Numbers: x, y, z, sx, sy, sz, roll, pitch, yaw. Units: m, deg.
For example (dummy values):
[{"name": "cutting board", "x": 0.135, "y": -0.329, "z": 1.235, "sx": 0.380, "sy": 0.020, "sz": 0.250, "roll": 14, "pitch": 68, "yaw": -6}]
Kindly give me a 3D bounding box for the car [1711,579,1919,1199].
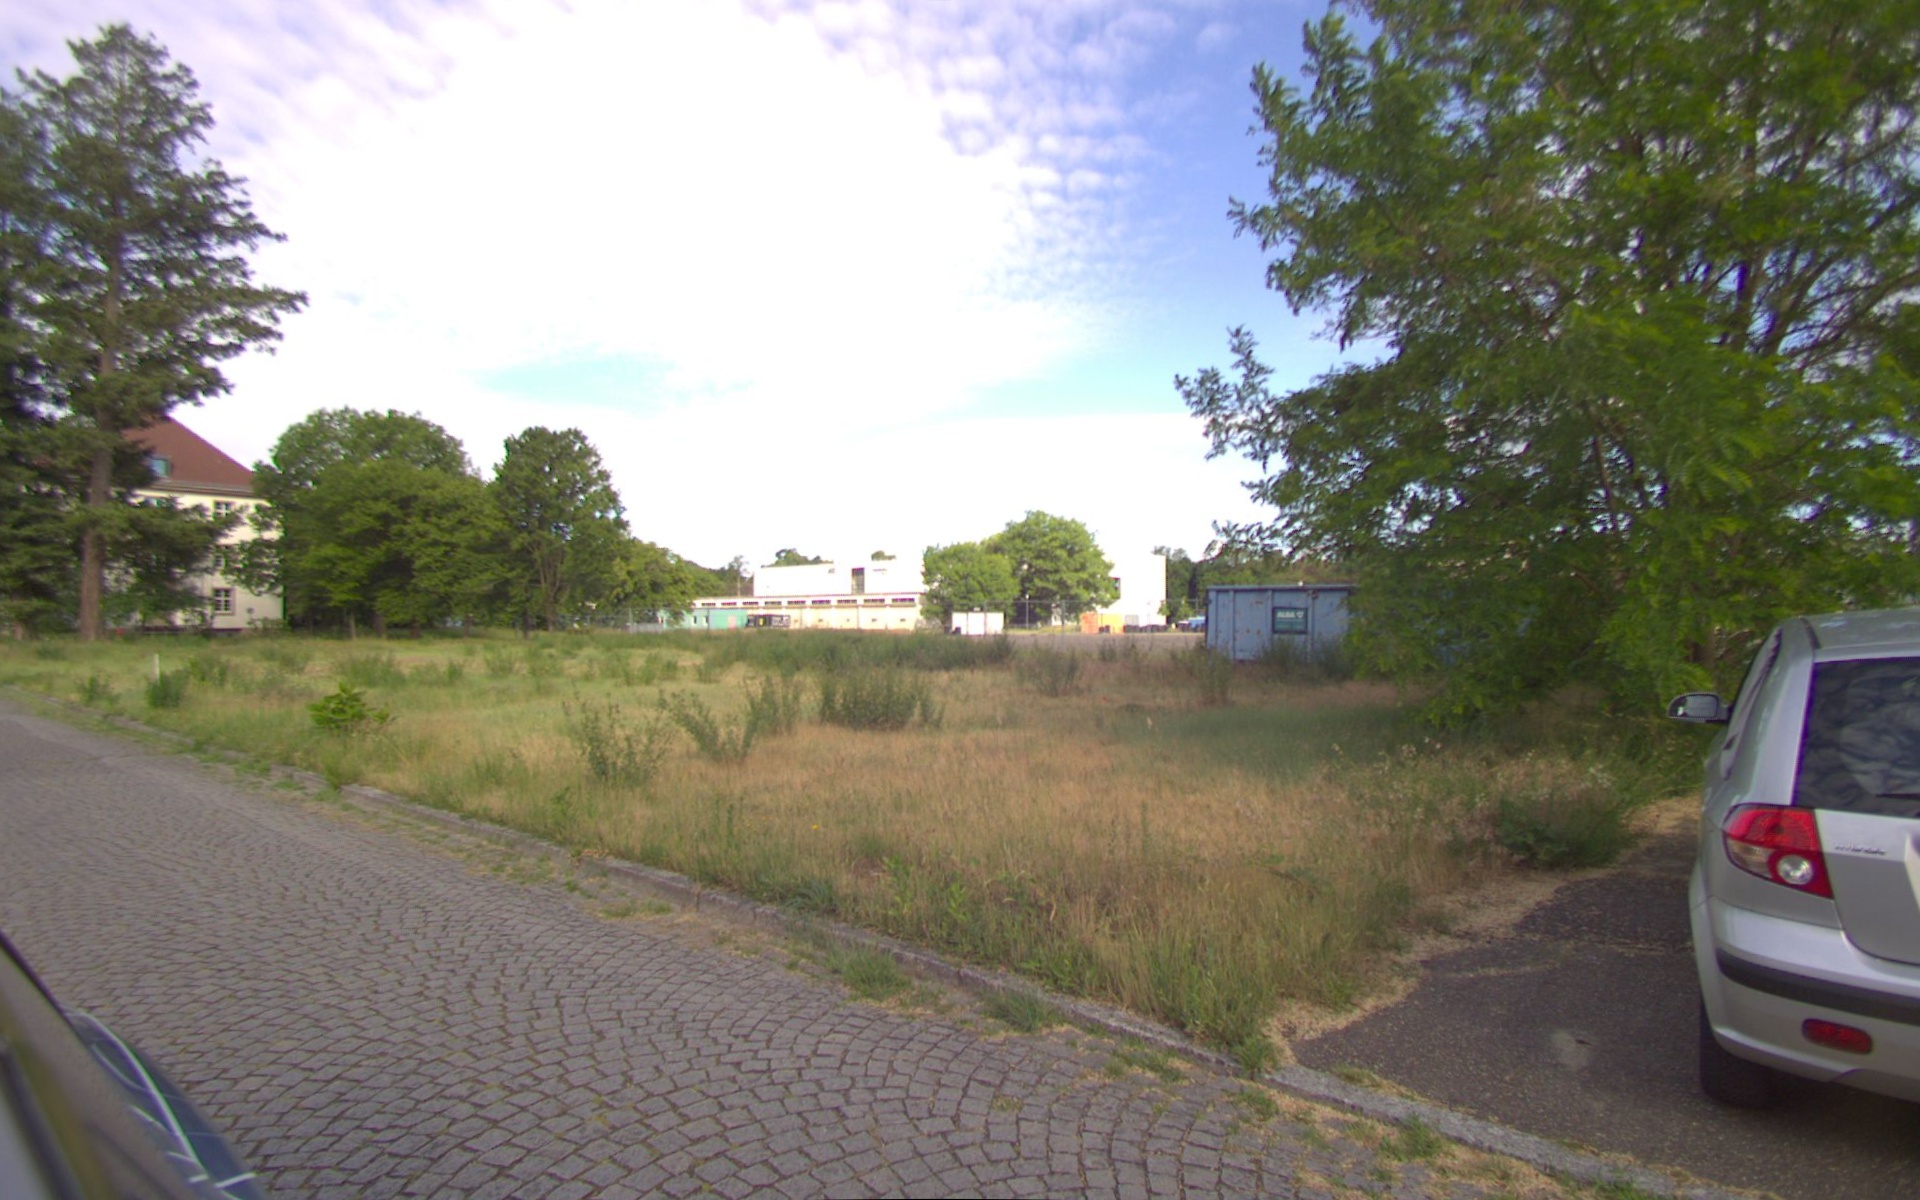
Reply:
[{"name": "car", "x": 3.714, "y": 0.692, "z": 3.548, "sx": 1.645, "sy": 1.486, "sz": 3.543, "roll": -1, "pitch": 1, "yaw": 38}]
